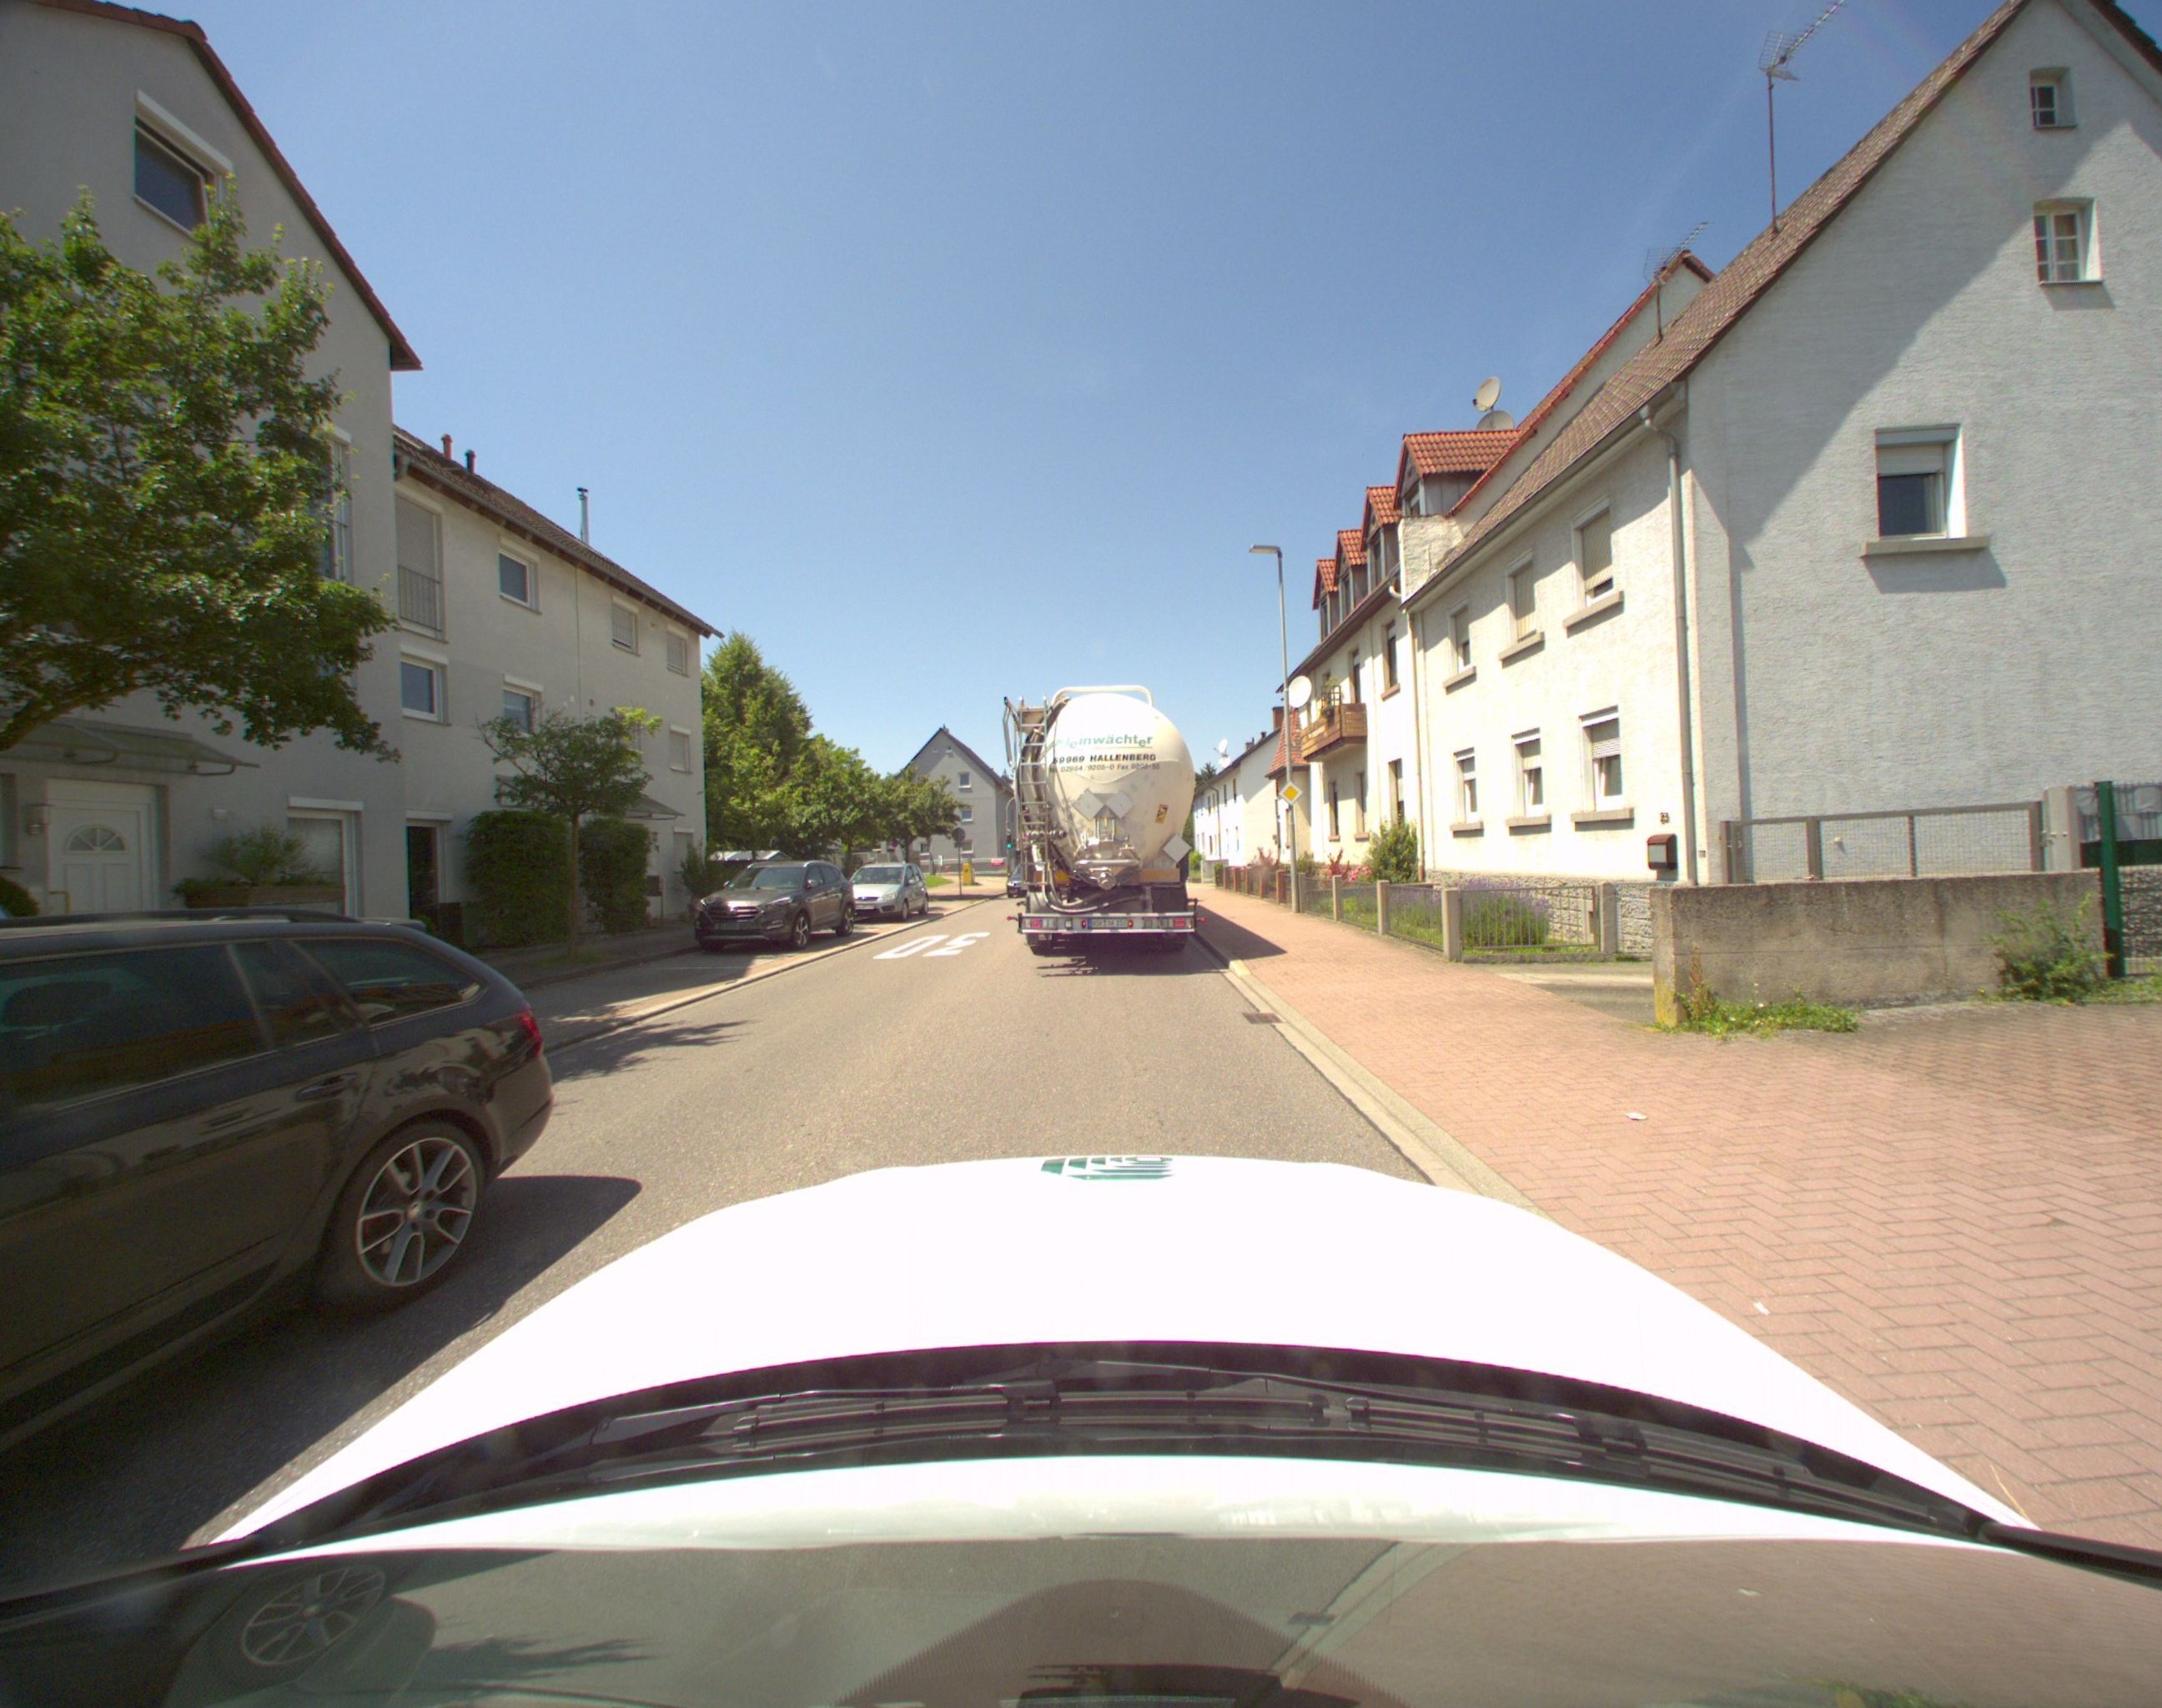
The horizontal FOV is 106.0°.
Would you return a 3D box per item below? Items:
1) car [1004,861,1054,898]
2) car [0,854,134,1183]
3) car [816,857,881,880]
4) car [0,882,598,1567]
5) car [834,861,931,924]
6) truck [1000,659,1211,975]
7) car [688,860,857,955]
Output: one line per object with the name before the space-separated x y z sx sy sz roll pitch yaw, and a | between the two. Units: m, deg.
car | -2.271 1.070 36.290 1.778 1.456 4.259 -3 0 1
car | -6.439 0.853 2.506 1.700 1.686 4.526 -1 0 1
car | -18.697 1.167 65.539 4.597 1.651 1.745 -2 0 10
car | -3.287 0.908 1.788 1.712 1.446 4.257 -4 0 2
car | -5.504 1.016 23.000 1.691 1.581 3.838 -1 0 1
truck | 0.492 -0.458 15.273 2.631 4.016 9.565 -1 0 2
car | -5.950 0.960 16.269 1.685 1.620 3.999 -1 0 2
